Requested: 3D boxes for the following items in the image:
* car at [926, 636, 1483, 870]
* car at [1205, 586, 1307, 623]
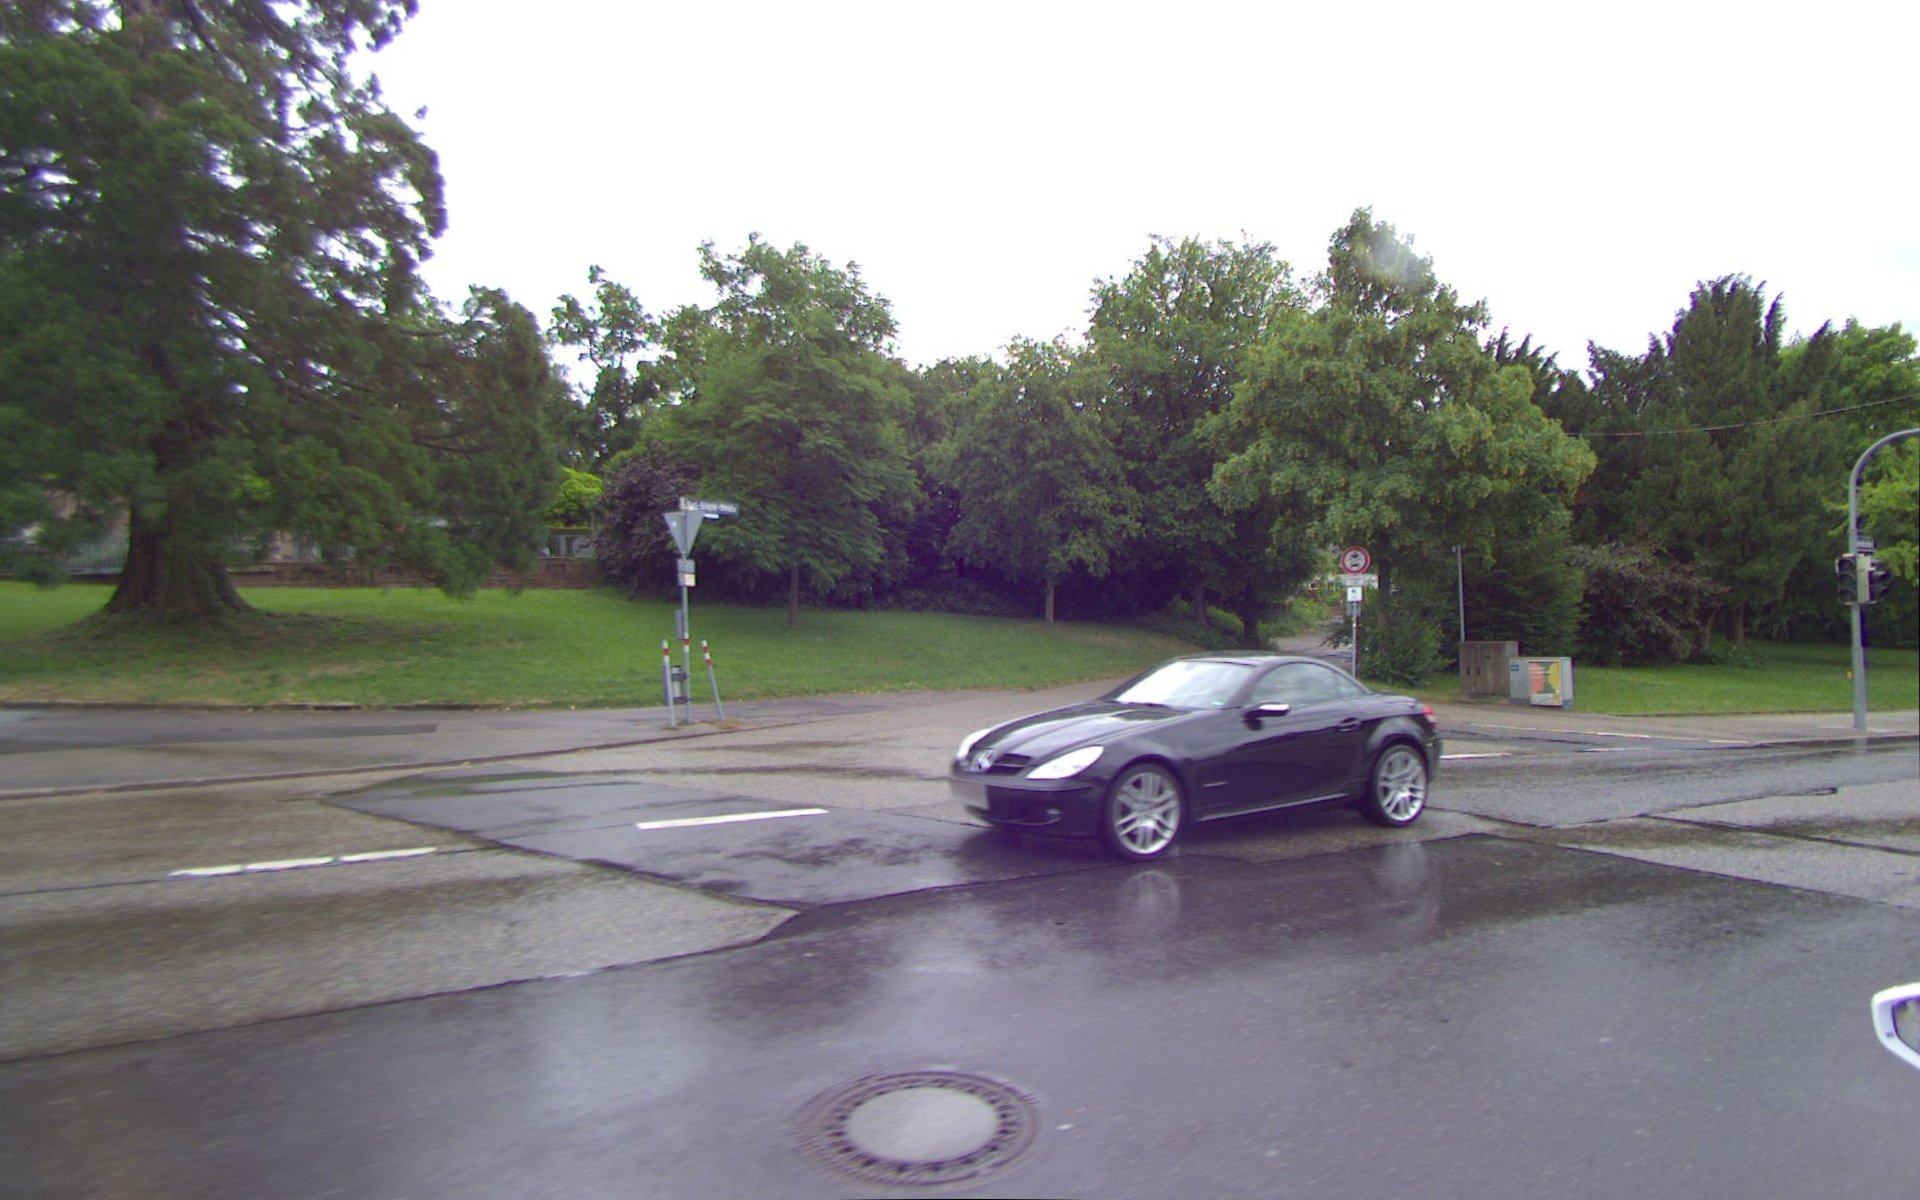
[{"bbox_3d":[1.913,0.991,7.656,4.032,1.323,1.655,0,-4,-28],"label":"car"},{"bbox_3d":[12.860,0.212,43.726,3.851,1.505,1.926,-1,-2,40],"label":"car"}]
